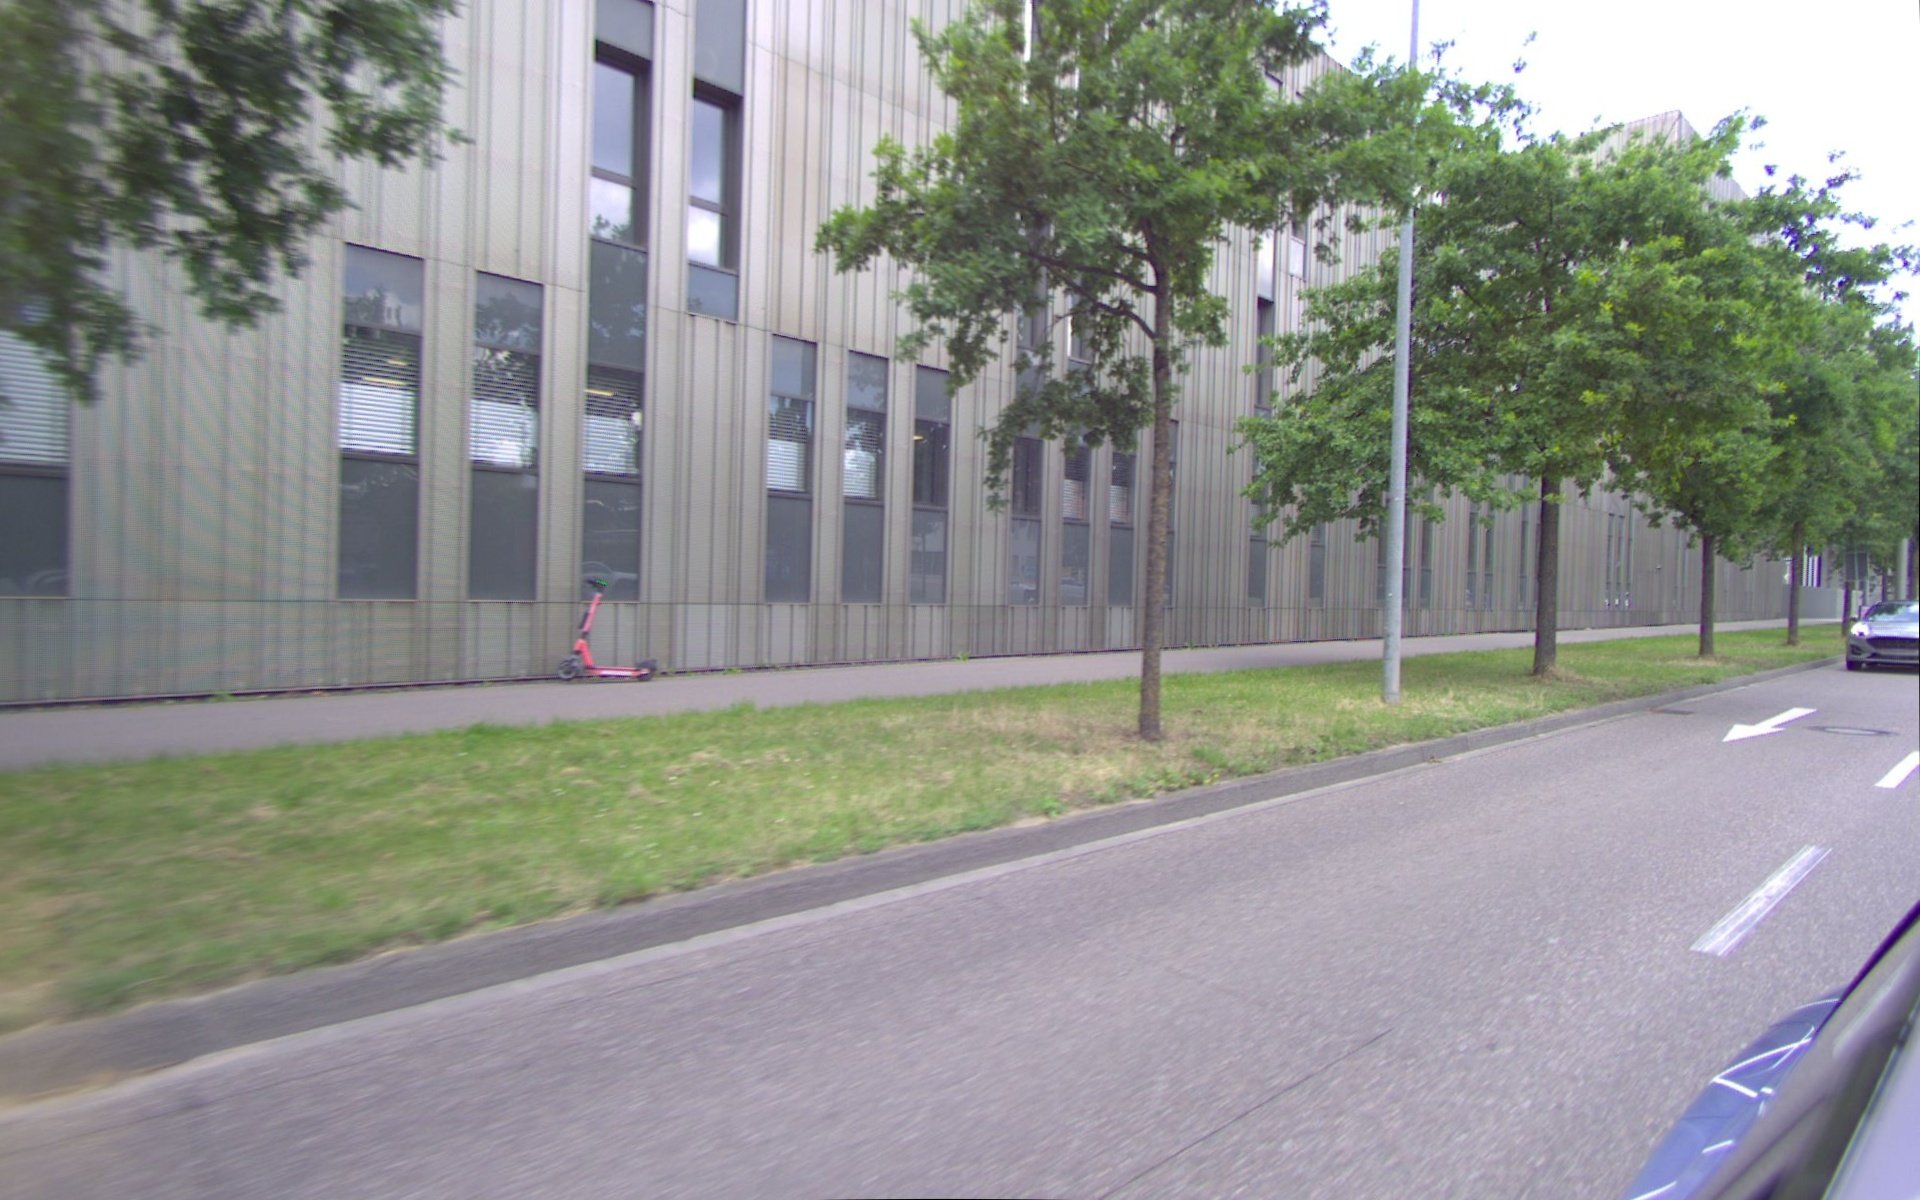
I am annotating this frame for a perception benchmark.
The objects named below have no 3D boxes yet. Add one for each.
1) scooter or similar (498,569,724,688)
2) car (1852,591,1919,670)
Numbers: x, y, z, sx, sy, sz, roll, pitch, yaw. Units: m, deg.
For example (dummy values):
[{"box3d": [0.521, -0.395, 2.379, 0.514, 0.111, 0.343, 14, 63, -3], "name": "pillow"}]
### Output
[{"box3d": [-4.094, 0.303, 12.043, 2.436, 1.261, 0.706, 0, 3, -41], "name": "scooter or similar"}, {"box3d": [20.735, 0.618, 21.799, 3.885, 1.594, 1.822, 0, 0, -41], "name": "car"}]
